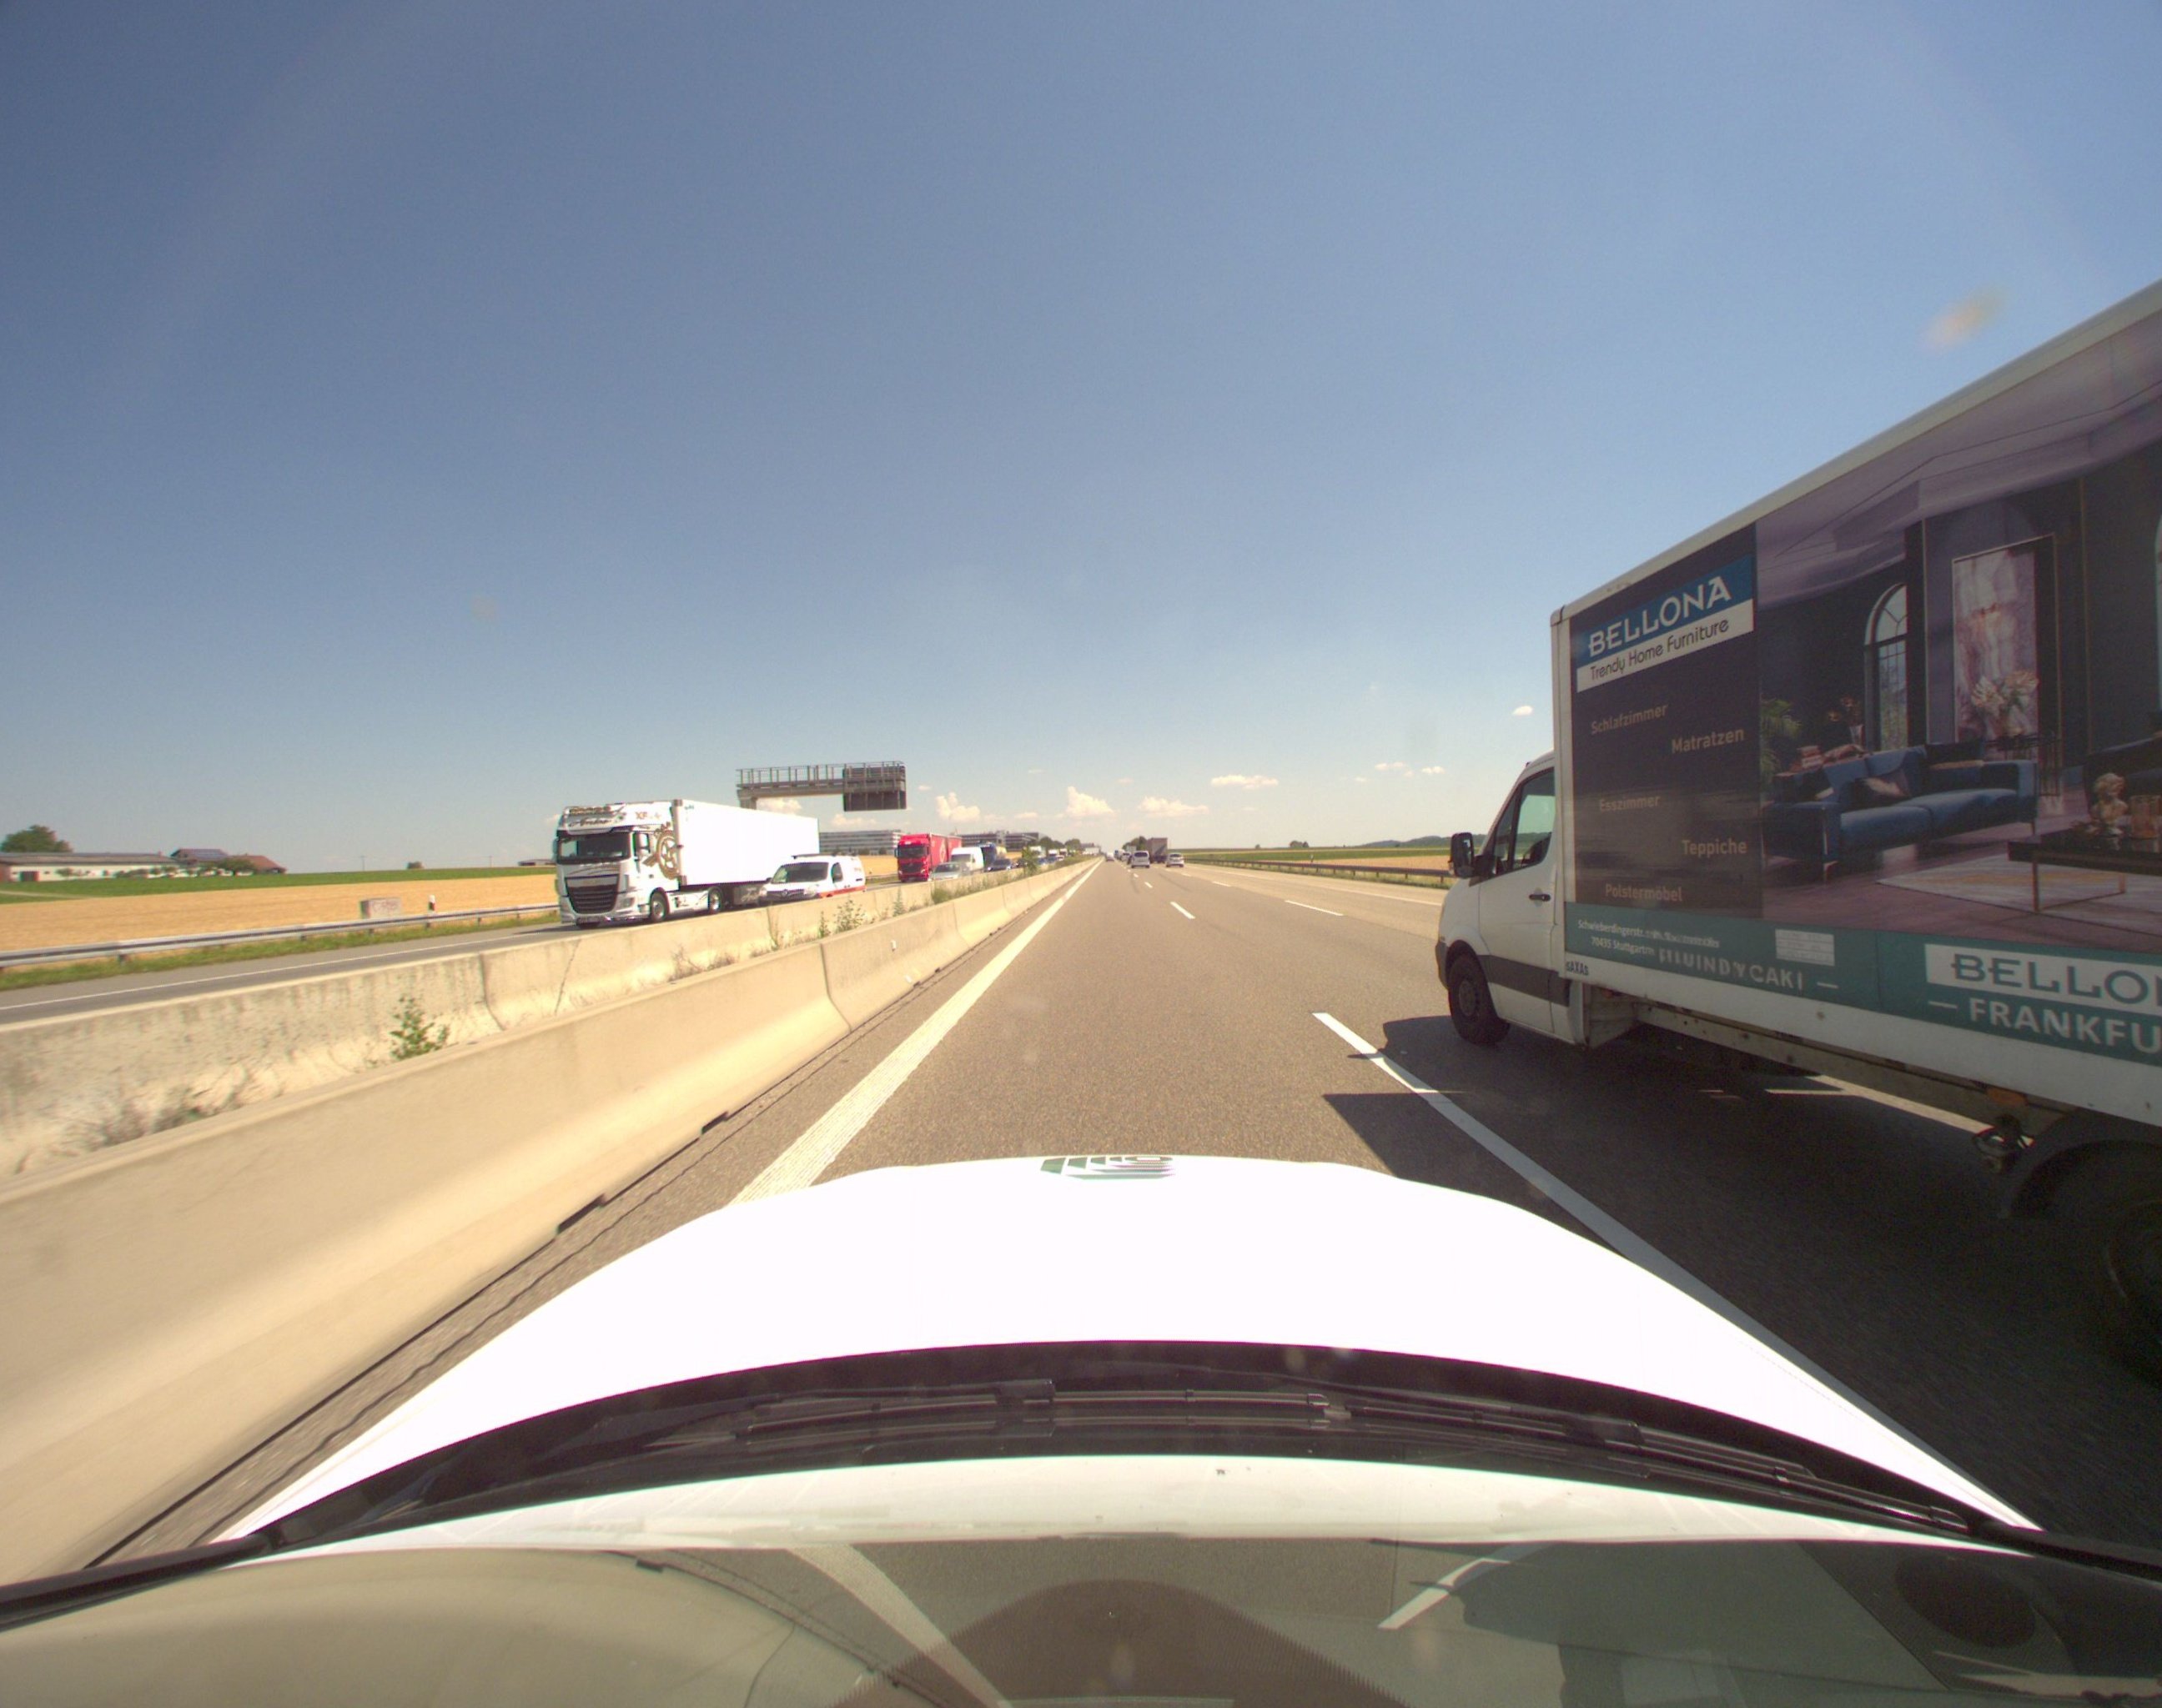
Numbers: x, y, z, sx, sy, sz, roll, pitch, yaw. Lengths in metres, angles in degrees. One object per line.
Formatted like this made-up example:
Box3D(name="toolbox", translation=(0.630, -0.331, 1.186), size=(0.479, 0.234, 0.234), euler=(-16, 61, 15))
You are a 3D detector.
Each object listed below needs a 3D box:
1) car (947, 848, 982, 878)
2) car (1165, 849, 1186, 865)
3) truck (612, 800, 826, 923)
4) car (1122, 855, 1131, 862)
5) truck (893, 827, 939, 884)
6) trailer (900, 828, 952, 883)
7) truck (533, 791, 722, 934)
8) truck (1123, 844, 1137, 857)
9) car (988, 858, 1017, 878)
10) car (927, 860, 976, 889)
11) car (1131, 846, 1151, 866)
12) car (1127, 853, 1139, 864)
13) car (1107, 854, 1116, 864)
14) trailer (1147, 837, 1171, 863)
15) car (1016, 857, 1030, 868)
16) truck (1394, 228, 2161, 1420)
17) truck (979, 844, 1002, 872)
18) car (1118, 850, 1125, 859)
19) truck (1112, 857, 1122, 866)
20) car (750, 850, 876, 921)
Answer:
Box3D(name="car", translation=(-9.603, 0.683, 67.464), size=(1.853, 2.336, 5.708), euler=(-2, 0, 1))
Box3D(name="car", translation=(10.900, 0.389, 94.111), size=(1.986, 1.794, 4.001), euler=(-1, -1, 2))
Box3D(name="truck", translation=(-14.707, 0.253, 34.993), size=(2.939, 4.158, 12.870), euler=(-3, 0, 1))
Box3D(name="car", translation=(9.294, 0.982, 168.175), size=(1.766, 1.447, 4.001), euler=(-1, -1, 2))
Box3D(name="truck", translation=(-13.990, 0.103, 69.357), size=(2.766, 4.598, 4.724), euler=(-2, 0, 1))
Box3D(name="trailer", translation=(-13.915, 0.099, 73.624), size=(2.766, 4.598, 8.603), euler=(-2, 0, 1))
Box3D(name="truck", translation=(-14.908, 0.257, 27.311), size=(2.939, 4.158, 5.473), euler=(-3, 0, 1))
Box3D(name="truck", translation=(15.337, -0.925, 256.468), size=(3.802, 3.905, 9.583), euler=(-2, 0, 2))
Box3D(name="car", translation=(-5.883, 1.012, 61.074), size=(1.712, 1.350, 3.774), euler=(-2, 0, 1))
Box3D(name="car", translation=(-6.557, 1.011, 41.571), size=(1.810, 1.350, 3.774), euler=(-2, 0, 1))
Box3D(name="car", translation=(6.618, 0.243, 89.737), size=(1.986, 2.120, 4.001), euler=(-1, -1, 2))
Box3D(name="car", translation=(7.732, 0.664, 121.450), size=(1.766, 1.447, 4.001), euler=(-1, -1, 2))
Box3D(name="car", translation=(6.406, 1.112, 171.211), size=(1.986, 2.014, 4.001), euler=(-1, -1, 2))
Box3D(name="trailer", translation=(12.749, -0.648, 133.385), size=(3.265, 3.967, 9.116), euler=(-1, -1, 2))
Box3D(name="car", translation=(-8.048, 1.199, 113.922), size=(1.621, 1.469, 3.720), euler=(-2, 0, 1))
Box3D(name="truck", translation=(3.978, -0.081, 4.104), size=(2.312, 3.067, 6.752), euler=(-1, 0, 1))
Box3D(name="truck", translation=(-11.996, 0.527, 108.277), size=(2.102, 3.600, 7.122), euler=(-2, 0, 1))
Box3D(name="car", translation=(11.039, 0.210, 223.115), size=(1.766, 2.392, 4.001), euler=(-1, -1, 2))
Box3D(name="truck", translation=(8.413, 1.765, 189.586), size=(2.204, 2.013, 4.972), euler=(-2, 0, 1))
Box3D(name="car", translation=(-7.433, 0.792, 23.175), size=(1.810, 1.753, 4.994), euler=(-2, 0, 1))
